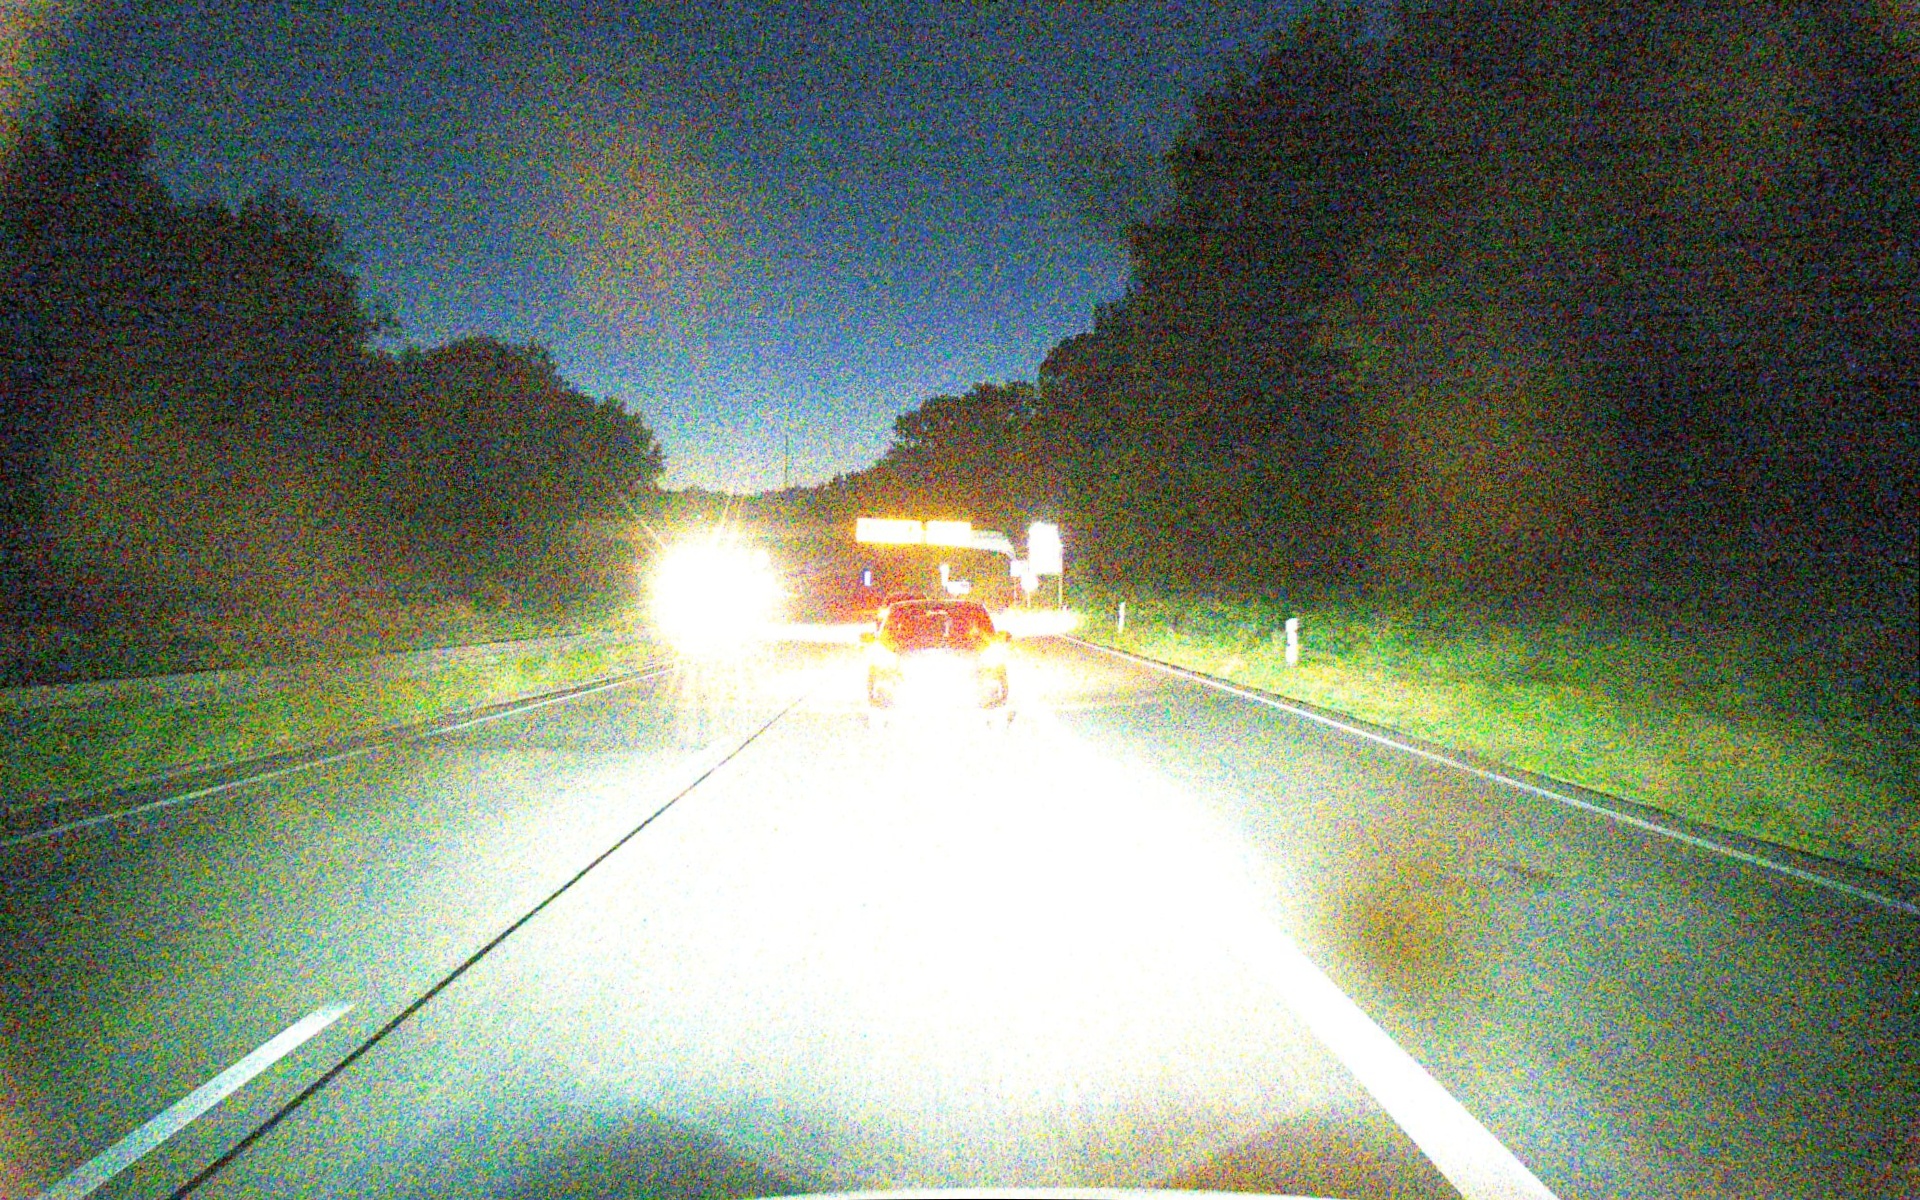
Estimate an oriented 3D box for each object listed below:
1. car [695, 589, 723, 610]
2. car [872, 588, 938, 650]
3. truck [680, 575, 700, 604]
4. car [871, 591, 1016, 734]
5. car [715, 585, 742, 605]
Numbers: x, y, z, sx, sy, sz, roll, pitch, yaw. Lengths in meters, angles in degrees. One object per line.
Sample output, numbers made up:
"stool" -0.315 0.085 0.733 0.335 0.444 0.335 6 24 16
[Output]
"car" -19.452 -0.057 128.342 1.693 1.543 4.156 0 0 -2
"car" -1.685 0.536 50.653 1.868 1.727 3.999 2 1 -2
"truck" -42.250 -1.628 258.628 2.579 4.306 8.571 3 0 -11
"car" -0.276 0.666 19.831 1.556 1.534 3.998 0 0 -3
"car" -21.210 -0.489 151.832 1.927 1.794 5.030 0 0 -2
